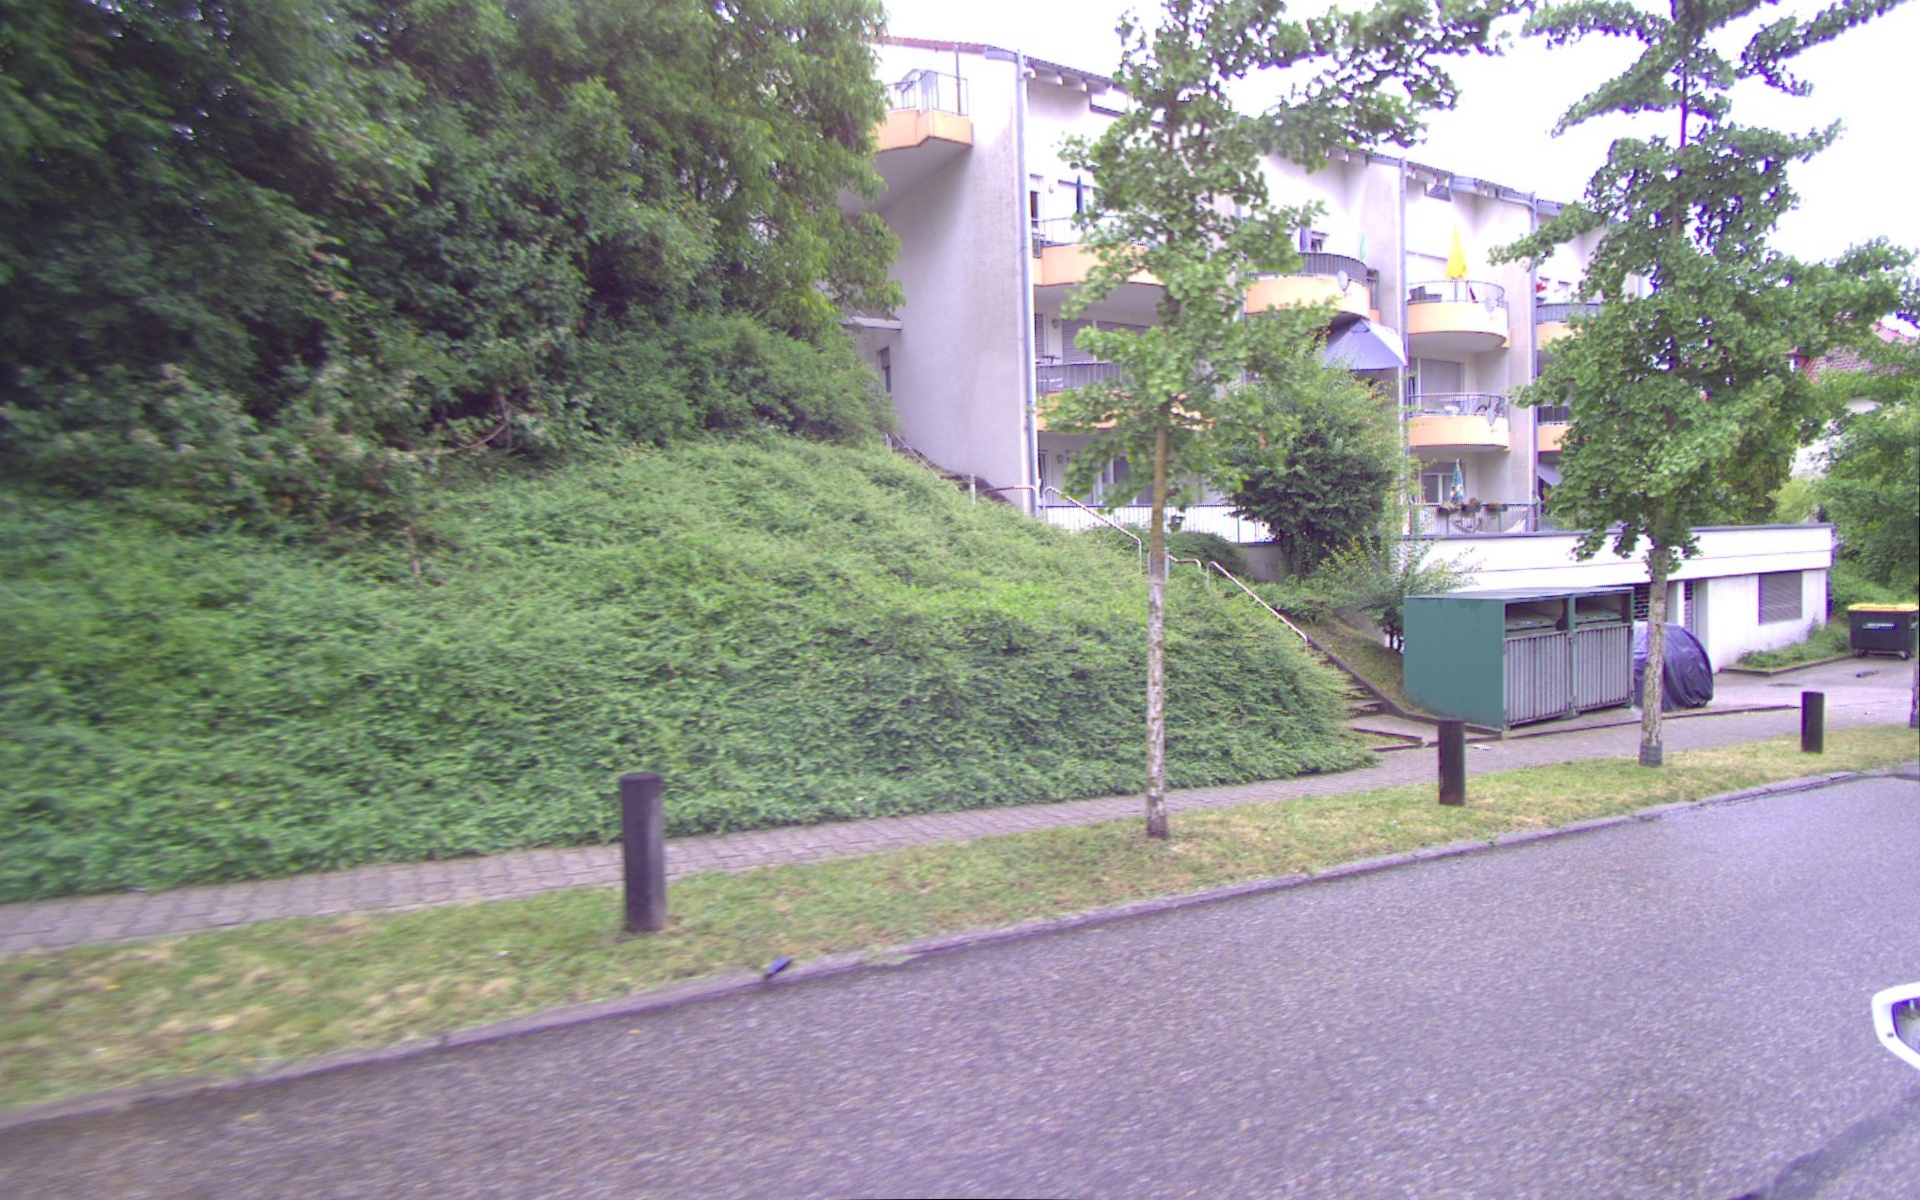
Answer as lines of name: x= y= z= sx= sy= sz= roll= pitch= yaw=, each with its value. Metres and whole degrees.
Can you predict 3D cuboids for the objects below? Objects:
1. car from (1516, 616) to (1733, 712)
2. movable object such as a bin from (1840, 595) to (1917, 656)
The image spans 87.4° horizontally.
car: x=11.494 y=1.056 z=17.318 sx=3.843 sy=1.475 sz=1.732 roll=1 pitch=-3 yaw=-33
movable object such as a bin: x=22.525 y=0.603 z=24.657 sx=0.483 sy=1.406 sz=1.265 roll=-1 pitch=3 yaw=-32
